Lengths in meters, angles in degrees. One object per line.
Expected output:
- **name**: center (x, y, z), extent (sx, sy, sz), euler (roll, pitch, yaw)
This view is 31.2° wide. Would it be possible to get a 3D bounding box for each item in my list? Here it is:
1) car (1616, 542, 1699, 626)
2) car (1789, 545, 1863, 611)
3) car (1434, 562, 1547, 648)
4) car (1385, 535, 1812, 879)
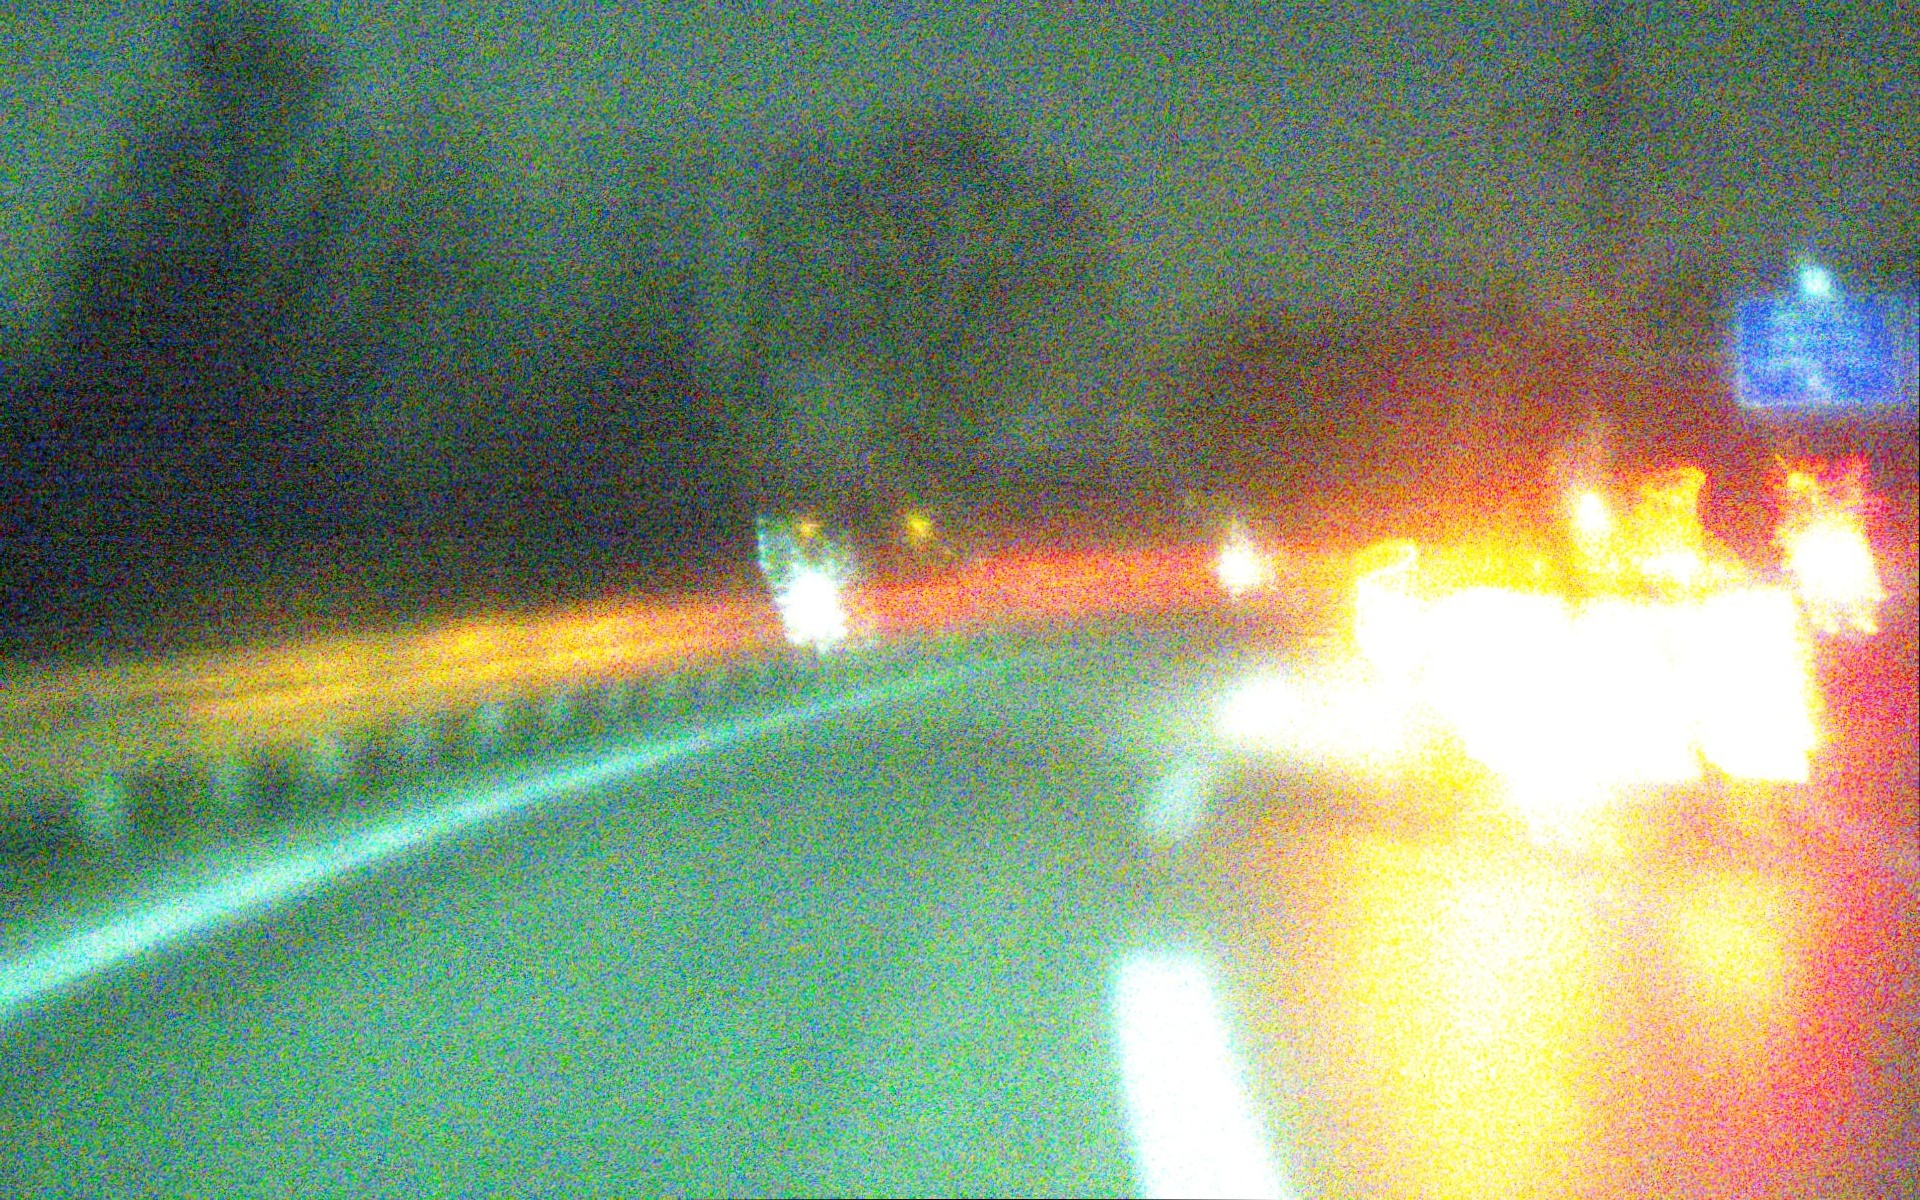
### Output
- **car**: center (17.519, -0.404, 86.199), extent (1.896, 2.033, 4.043), euler (1, 0, 13)
- **car**: center (26.484, -0.677, 105.038), extent (1.897, 1.991, 4.042), euler (0, 0, 18)
- **car**: center (11.048, 0.103, 71.451), extent (1.896, 1.715, 4.043), euler (1, 0, 15)
- **car**: center (3.423, 0.504, 19.138), extent (1.861, 1.641, 4.068), euler (2, 1, 4)
